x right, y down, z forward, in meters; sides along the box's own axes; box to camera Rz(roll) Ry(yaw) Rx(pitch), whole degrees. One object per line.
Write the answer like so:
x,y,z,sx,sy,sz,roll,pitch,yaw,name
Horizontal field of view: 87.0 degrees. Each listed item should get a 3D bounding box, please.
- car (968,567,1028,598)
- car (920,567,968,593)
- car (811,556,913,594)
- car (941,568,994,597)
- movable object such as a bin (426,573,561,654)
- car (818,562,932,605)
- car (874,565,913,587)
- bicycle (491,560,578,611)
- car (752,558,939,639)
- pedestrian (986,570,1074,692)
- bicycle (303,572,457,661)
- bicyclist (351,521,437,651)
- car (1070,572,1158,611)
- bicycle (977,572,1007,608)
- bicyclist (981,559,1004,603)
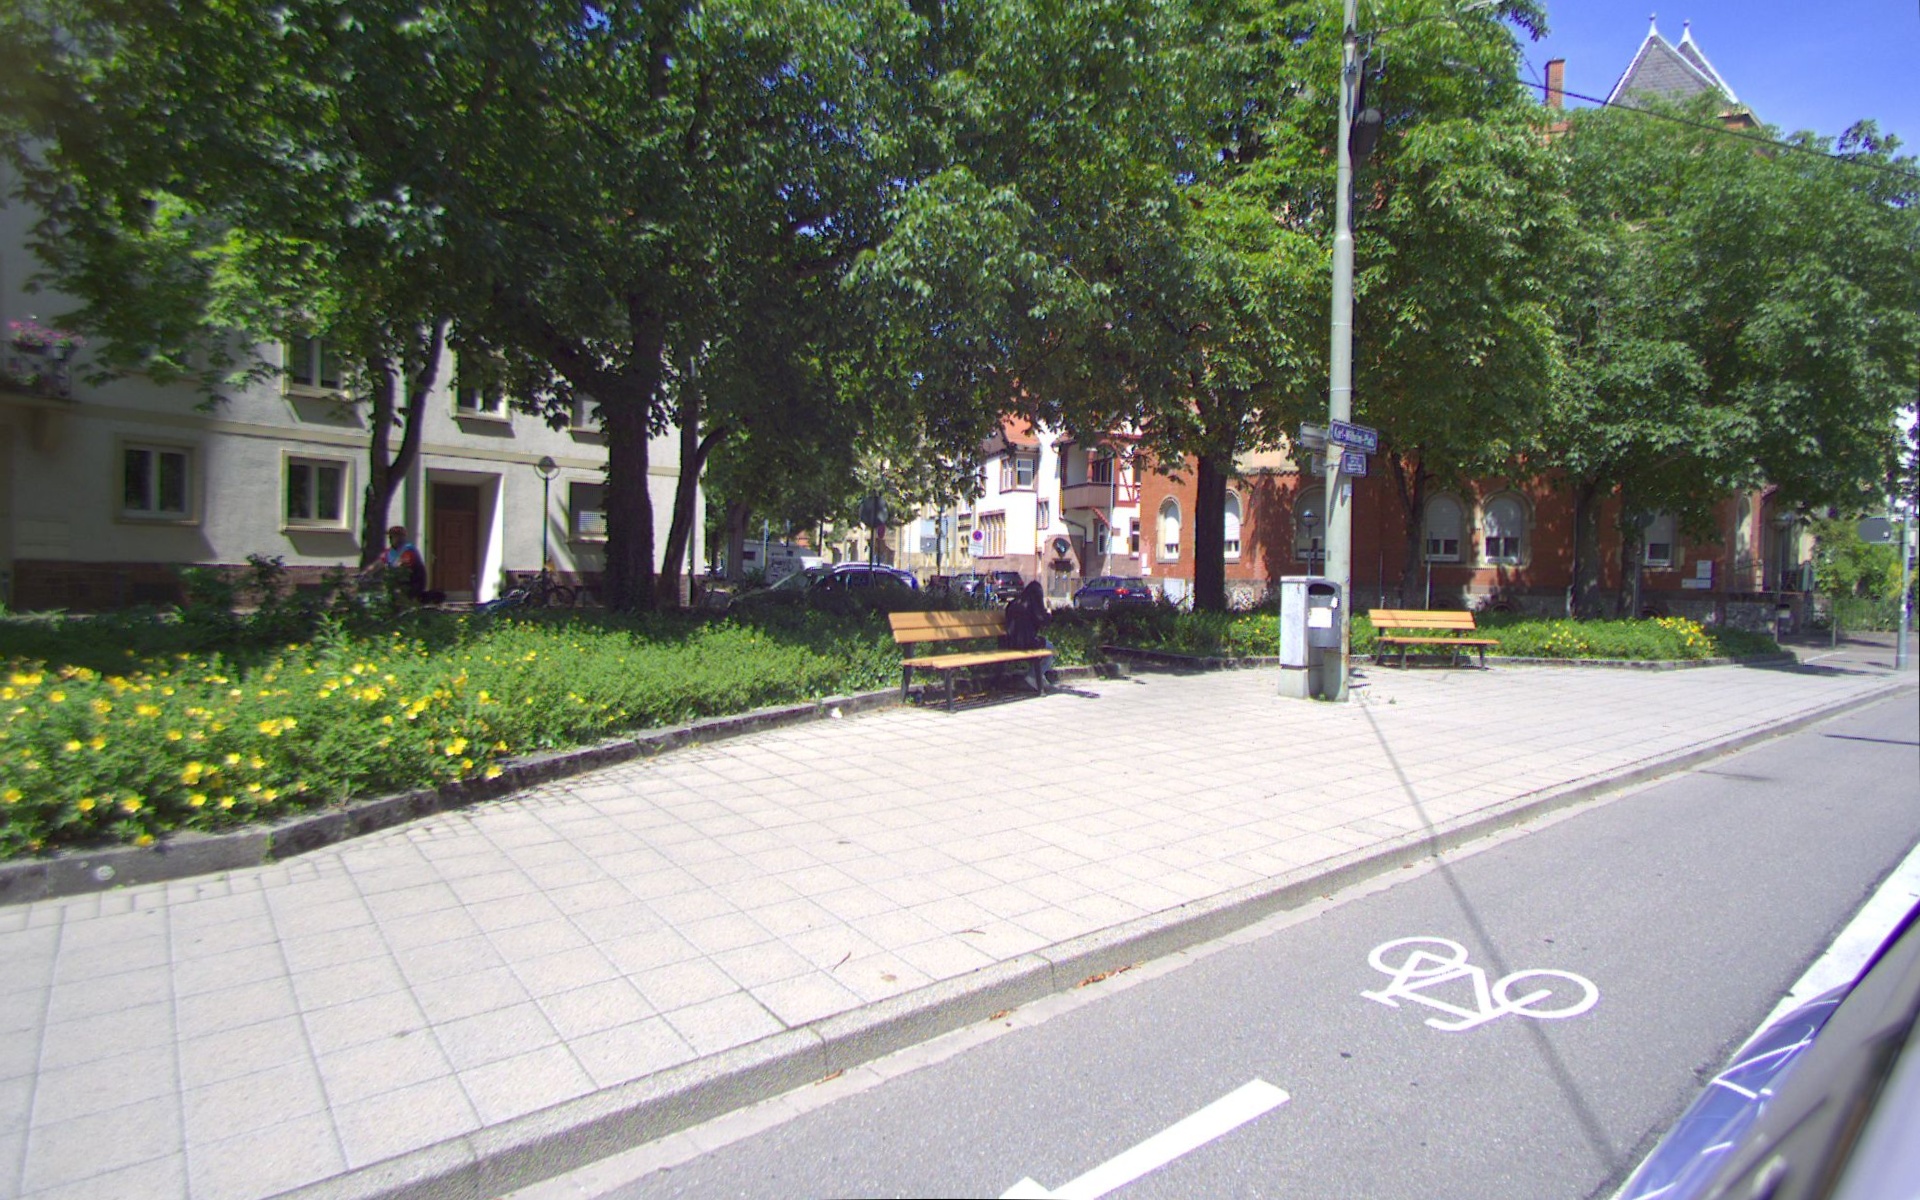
1.989,-0.969,54.240,1.668,1.582,4.255,1,2,-21,car
-1.063,-1.299,64.169,1.668,1.582,4.255,1,2,-21,car
-4.399,-1.101,45.216,4.228,1.582,1.649,1,1,-19,car
0.395,-1.024,59.004,1.668,1.582,4.255,1,2,-21,car
-7.309,0.180,15.919,0.862,1.169,1.744,2,2,32,movable object such as a bin
-3.371,-0.664,40.108,4.228,1.582,1.649,1,1,-19,car
-4.967,-1.797,74.759,1.668,1.582,4.255,1,2,-21,car
-10.264,-0.352,24.467,0.513,1.169,1.904,2,2,42,bicycle
-2.413,-0.065,22.113,1.608,1.582,4.004,2,2,42,car
0.711,0.289,10.219,0.648,1.164,0.635,2,1,34,pedestrian
-8.194,0.207,14.372,0.676,1.169,1.784,2,2,32,bicycle
-8.106,-0.209,14.506,0.693,1.788,0.855,2,1,32,bicyclist
6.193,-0.381,41.134,1.610,1.470,4.329,1,2,-21,car
1.213,-0.411,38.751,0.627,1.309,1.935,1,2,-15,bicycle
1.223,-0.739,38.749,0.627,1.643,0.865,1,1,-14,bicyclist
